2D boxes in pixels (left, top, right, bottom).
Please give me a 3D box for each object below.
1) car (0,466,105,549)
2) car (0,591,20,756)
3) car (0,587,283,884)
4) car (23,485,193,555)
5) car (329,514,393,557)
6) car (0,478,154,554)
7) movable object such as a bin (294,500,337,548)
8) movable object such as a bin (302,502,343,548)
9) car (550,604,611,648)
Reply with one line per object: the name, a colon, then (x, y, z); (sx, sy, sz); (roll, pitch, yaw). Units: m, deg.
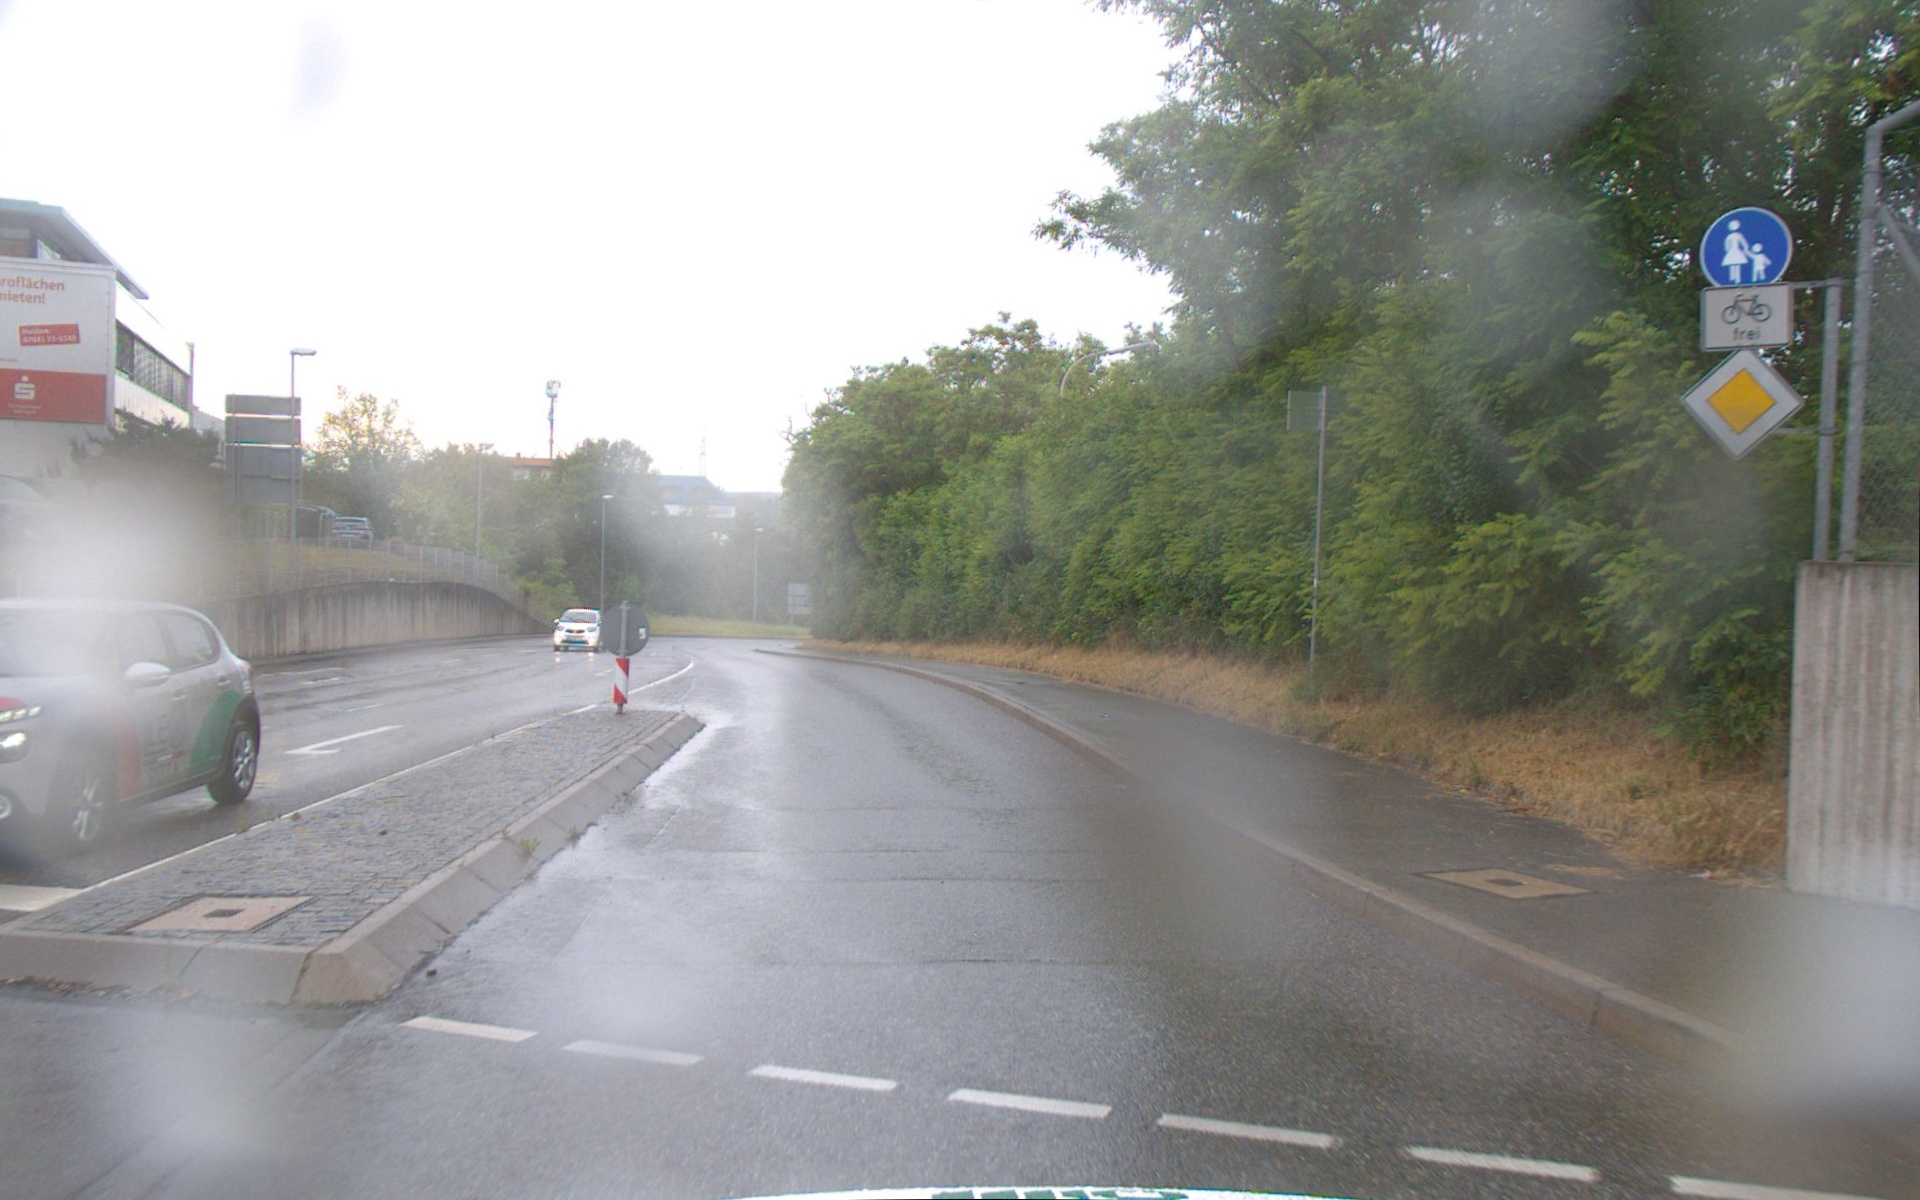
car: (-21.031, -2.034, 36.298); (3.906, 1.614, 1.901); (2, -1, 23)
car: (-9.573, 0.668, 13.500); (1.686, 1.520, 3.997); (1, 0, -4)
car: (-5.870, 0.692, 10.563); (1.628, 1.520, 3.997); (1, 0, -4)
car: (-21.812, -2.038, 42.332); (3.910, 1.614, 1.900); (2, -1, 27)
car: (-23.823, -2.536, 65.897); (1.795, 1.467, 3.987); (3, -1, -12)
car: (-21.358, -1.997, 39.356); (3.910, 1.614, 1.900); (2, -1, 27)
movable object such as a bin: (-21.504, -2.516, 55.206); (1.065, 1.462, 1.442); (3, -1, -13)
movable object such as a bin: (-21.825, -2.552, 56.652); (1.065, 1.462, 1.442); (3, -1, -13)
car: (-13.727, 0.916, 59.949); (1.620, 1.454, 3.789); (1, 1, -5)
